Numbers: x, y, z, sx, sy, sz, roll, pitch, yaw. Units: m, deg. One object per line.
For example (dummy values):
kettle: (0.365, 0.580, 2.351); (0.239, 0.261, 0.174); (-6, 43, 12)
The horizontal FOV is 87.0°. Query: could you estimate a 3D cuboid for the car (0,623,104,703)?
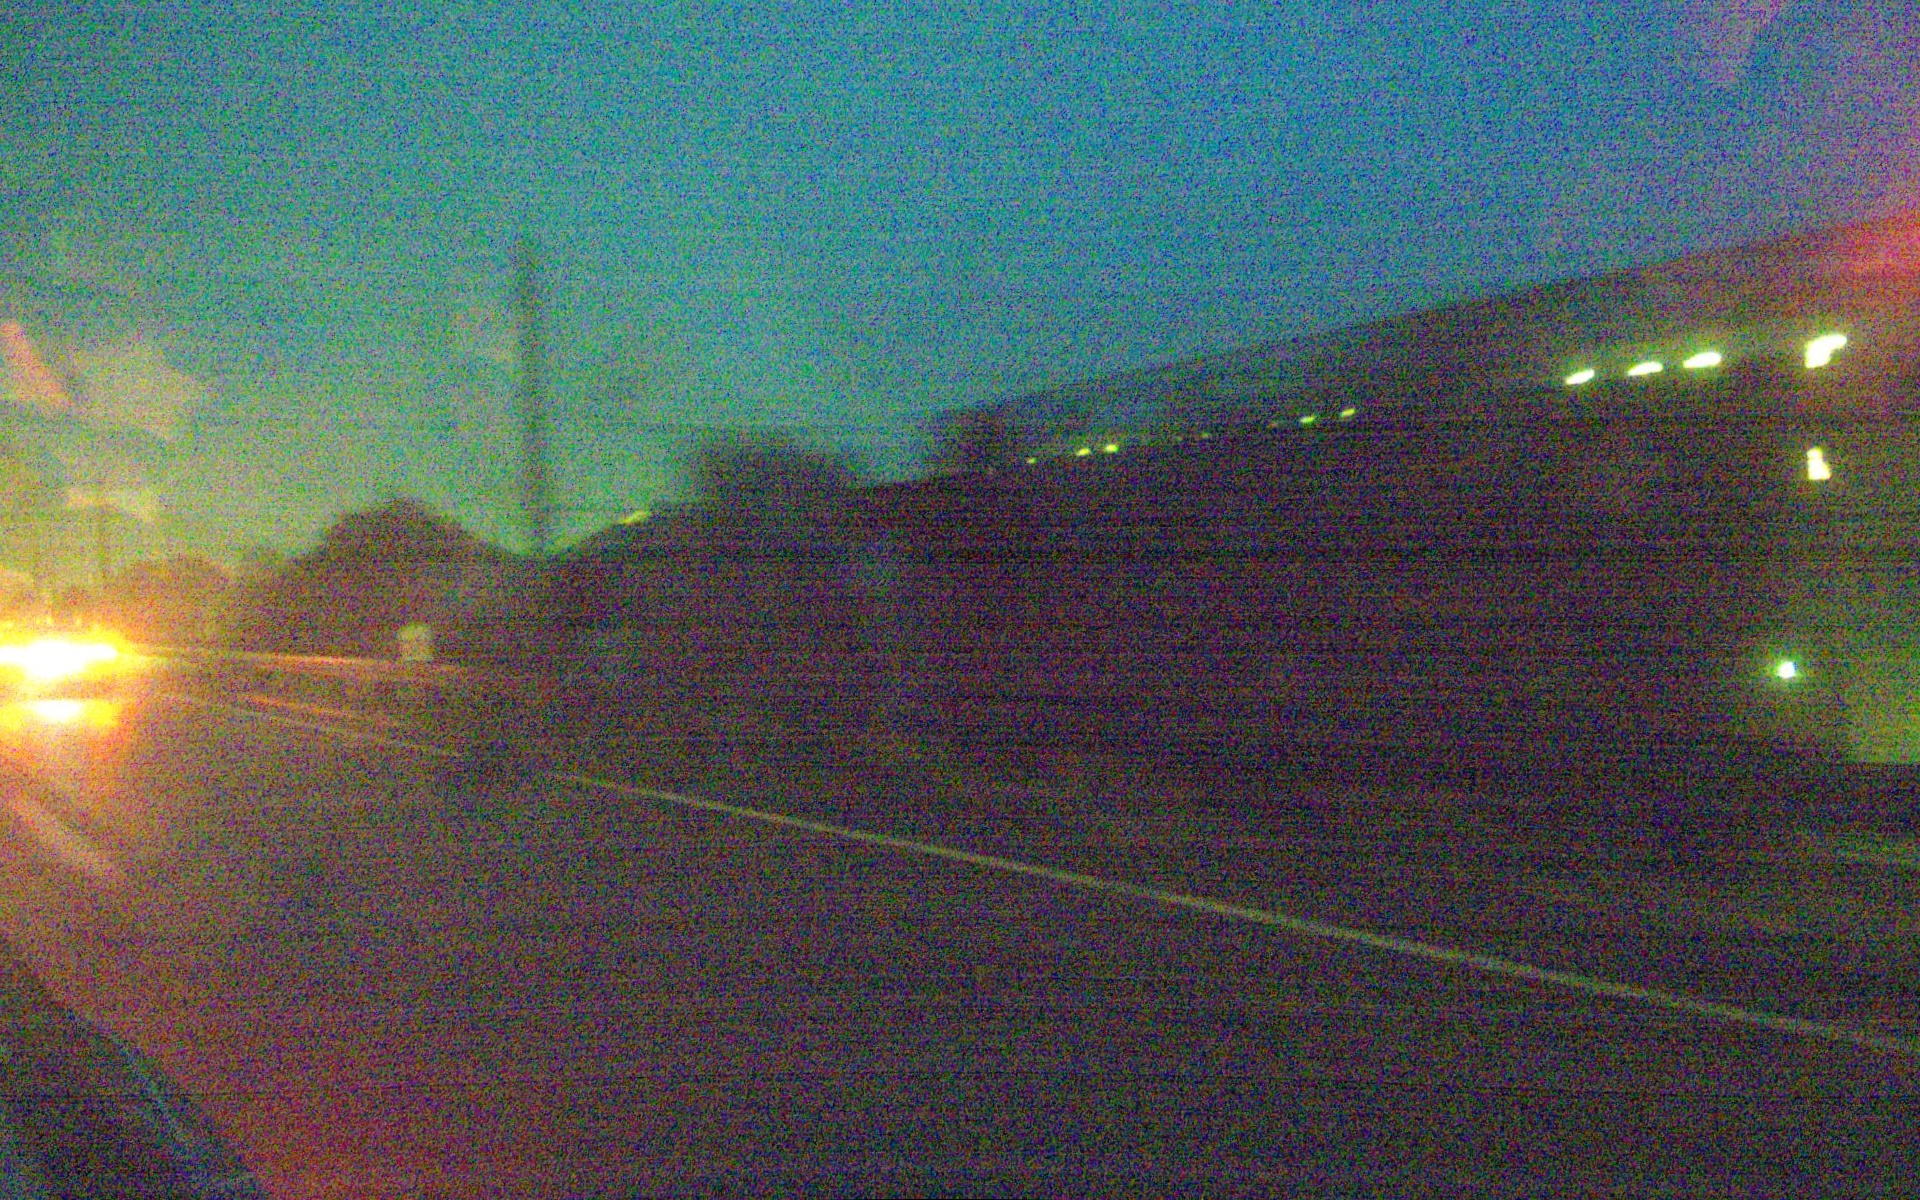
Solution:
car: (-17.802, 1.148, 19.346); (3.678, 1.370, 1.624); (-1, -1, 40)
